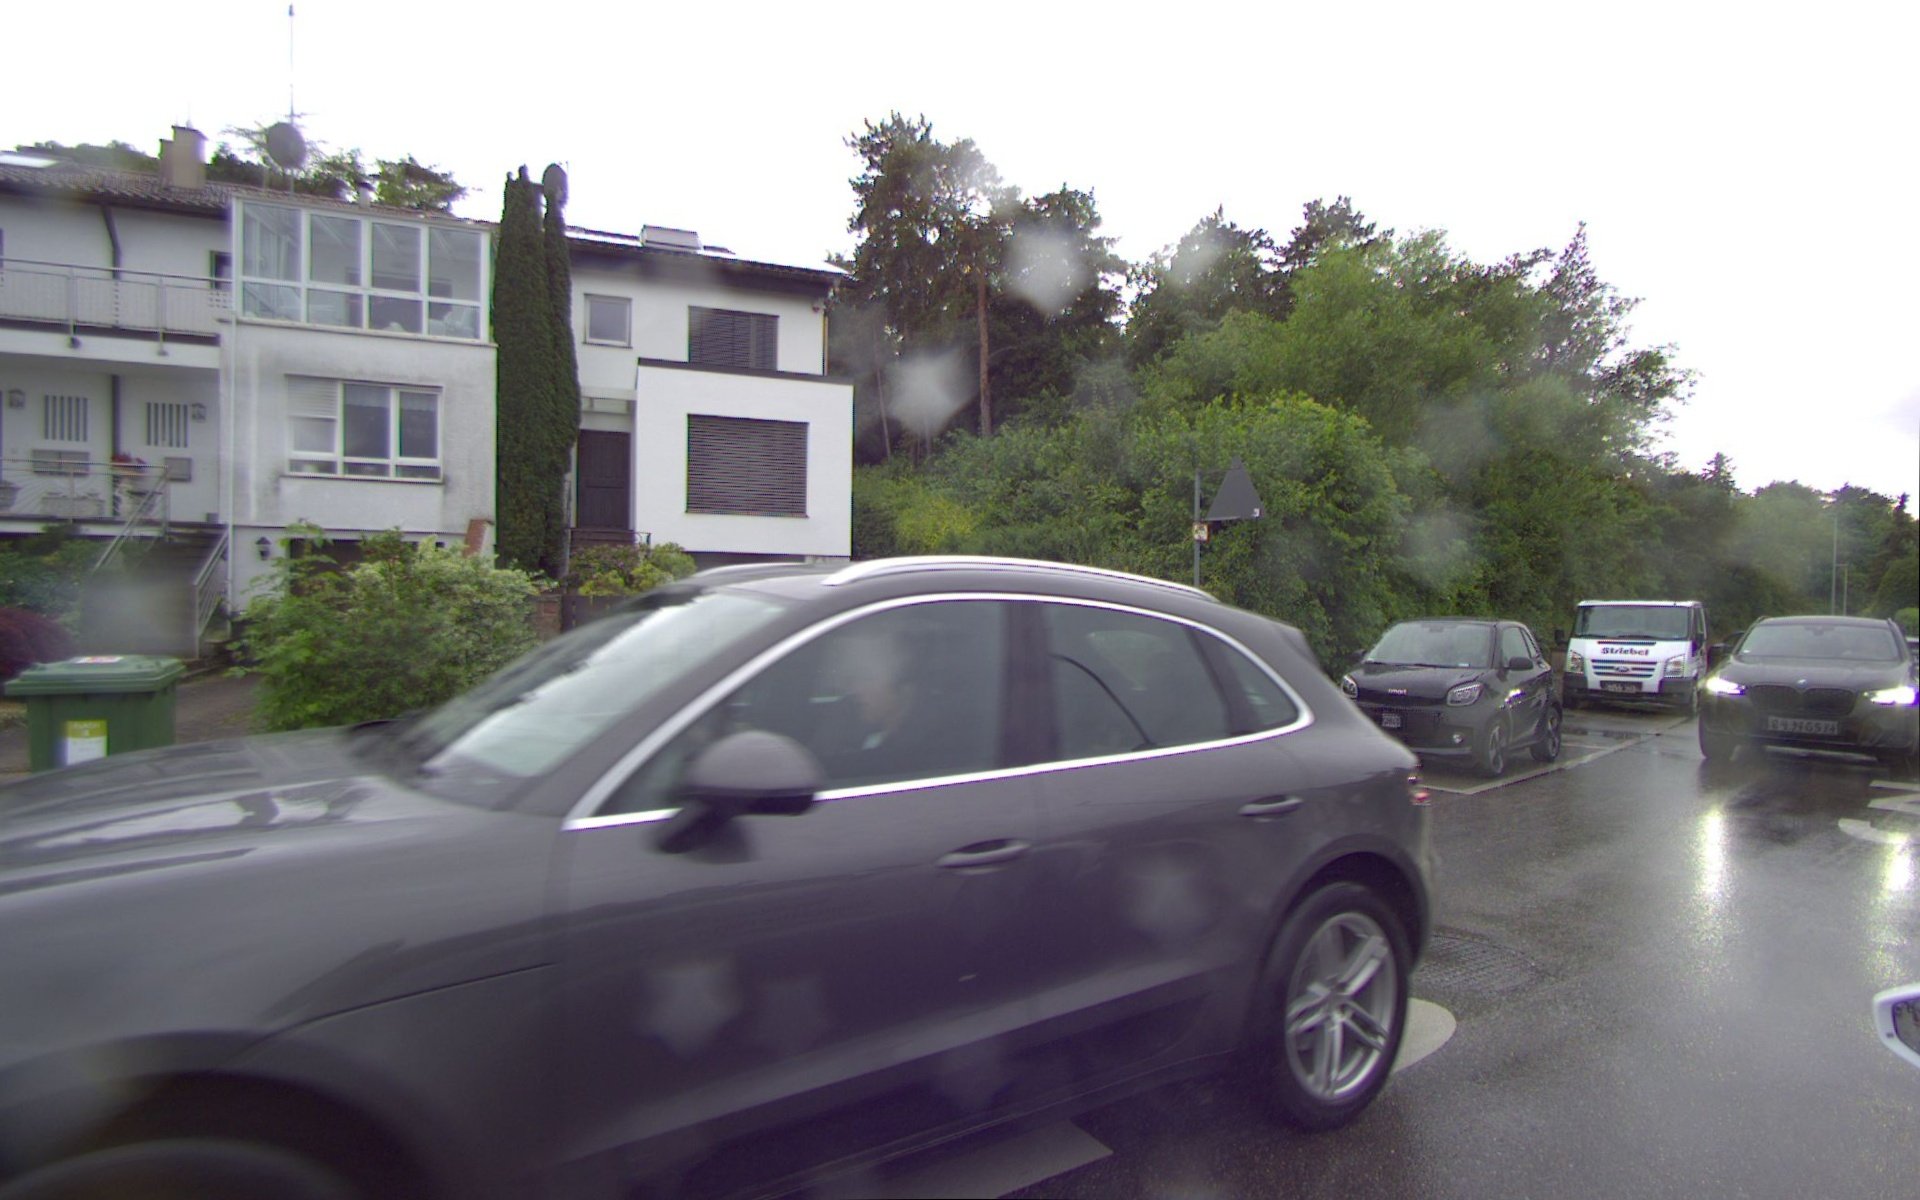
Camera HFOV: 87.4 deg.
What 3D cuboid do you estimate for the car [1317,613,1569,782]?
[{"bbox_3d":[5.262,0.939,10.810,1.586,1.531,2.924,0,-1,45],"label":"car"}]

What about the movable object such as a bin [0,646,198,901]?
[{"bbox_3d":[-4.293,0.809,5.028,0.614,1.082,0.842,0,2,-27],"label":"movable object such as a bin"}]

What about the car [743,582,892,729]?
[{"bbox_3d":[-2.304,0.724,15.447,1.712,1.975,3.670,0,1,-17],"label":"car"}]

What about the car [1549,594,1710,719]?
[{"bbox_3d":[12.612,0.959,18.770,2.085,2.001,5.151,0,-1,38],"label":"car"}]

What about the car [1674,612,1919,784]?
[{"bbox_3d":[10.109,1.005,11.829,4.311,1.626,1.912,2,-1,-42],"label":"car"}]

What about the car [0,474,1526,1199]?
[{"bbox_3d":[-0.297,0.690,2.938,4.174,1.615,1.777,2,0,-35],"label":"car"}]

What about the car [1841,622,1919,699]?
[{"bbox_3d":[22.322,1.504,23.942,1.848,1.531,4.072,3,-3,43],"label":"car"}]
